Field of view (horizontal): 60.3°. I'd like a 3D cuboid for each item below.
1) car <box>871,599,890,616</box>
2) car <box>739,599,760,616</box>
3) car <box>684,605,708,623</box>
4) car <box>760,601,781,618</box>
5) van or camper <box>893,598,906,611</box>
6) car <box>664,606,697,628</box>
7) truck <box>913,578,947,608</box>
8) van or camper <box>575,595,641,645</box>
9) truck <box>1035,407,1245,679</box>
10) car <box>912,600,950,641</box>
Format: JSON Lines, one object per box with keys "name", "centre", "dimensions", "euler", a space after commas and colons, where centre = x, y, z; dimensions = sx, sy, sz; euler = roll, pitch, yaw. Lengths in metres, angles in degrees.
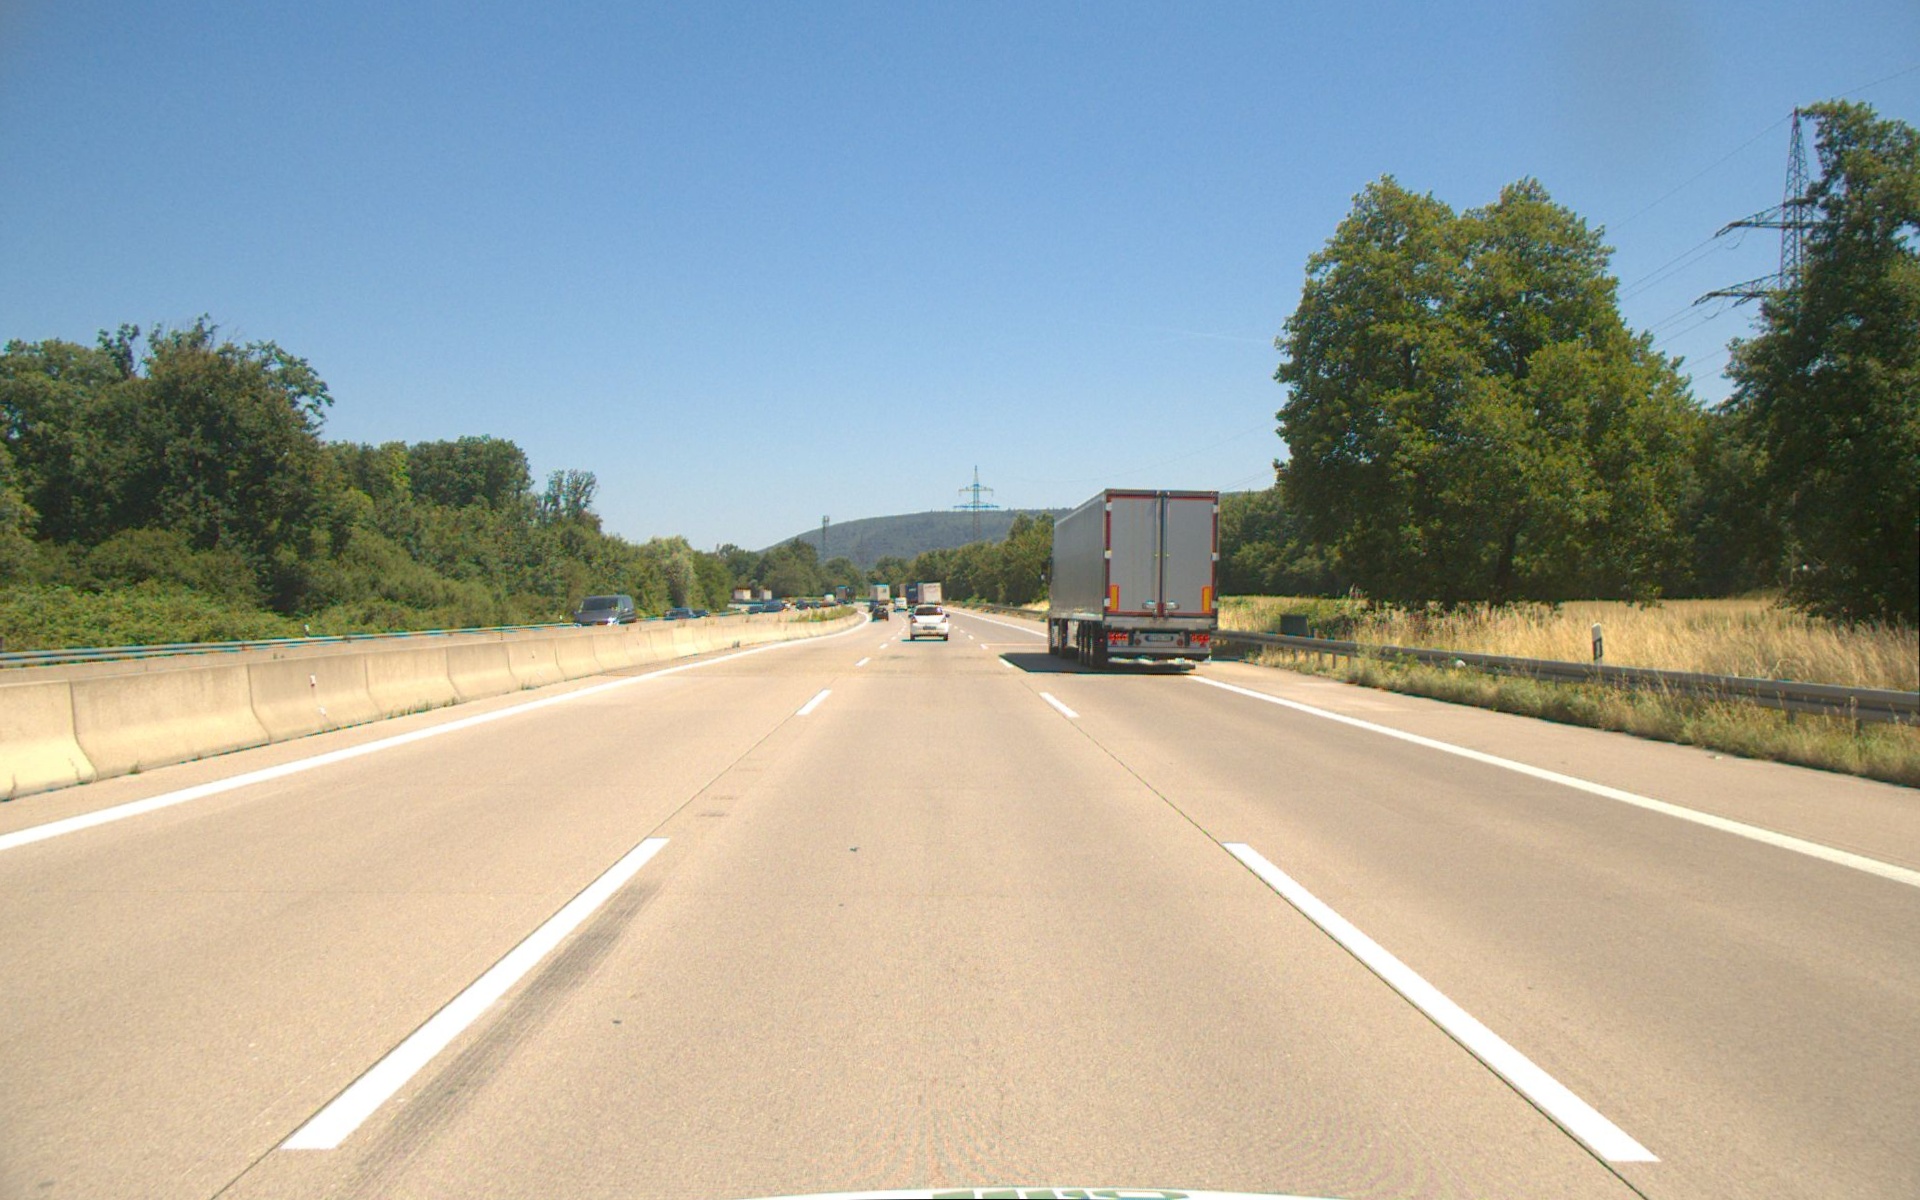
{"name": "car", "centre": [-8.605, 0.817, 178.276], "dimensions": [1.982, 1.730, 3.997], "euler": [1, 0, -4]}
{"name": "car", "centre": [-20.931, 0.754, 164.486], "dimensions": [1.669, 1.687, 4.404], "euler": [-1, 0, -3]}
{"name": "car", "centre": [-24.597, 1.327, 154.255], "dimensions": [1.669, 1.687, 4.088], "euler": [-1, -1, -3]}
{"name": "car", "centre": [-16.827, 0.830, 147.042], "dimensions": [1.528, 1.443, 3.522], "euler": [-1, 0, -1]}
{"name": "van or camper", "centre": [-9.109, 0.713, 248.922], "dimensions": [1.831, 1.869, 3.997], "euler": [-4, 0, -4]}
{"name": "car", "centre": [-18.772, 1.127, 111.261], "dimensions": [1.598, 1.443, 3.522], "euler": [-1, 0, 0]}
{"name": "truck", "centre": [-4.520, -1.038, 242.833], "dimensions": [3.747, 3.956, 14.137], "euler": [-4, 0, -5]}
{"name": "van or camper", "centre": [-14.095, 0.783, 66.444], "dimensions": [1.810, 1.915, 4.415], "euler": [-1, 0, -2]}
{"name": "truck", "centre": [4.314, -1.320, 44.939], "dimensions": [3.504, 5.888, 18.244], "euler": [0, 0, -1]}
{"name": "car", "centre": [-1.264, 0.854, 72.111], "dimensions": [1.608, 1.691, 3.359], "euler": [1, 0, -1]}
